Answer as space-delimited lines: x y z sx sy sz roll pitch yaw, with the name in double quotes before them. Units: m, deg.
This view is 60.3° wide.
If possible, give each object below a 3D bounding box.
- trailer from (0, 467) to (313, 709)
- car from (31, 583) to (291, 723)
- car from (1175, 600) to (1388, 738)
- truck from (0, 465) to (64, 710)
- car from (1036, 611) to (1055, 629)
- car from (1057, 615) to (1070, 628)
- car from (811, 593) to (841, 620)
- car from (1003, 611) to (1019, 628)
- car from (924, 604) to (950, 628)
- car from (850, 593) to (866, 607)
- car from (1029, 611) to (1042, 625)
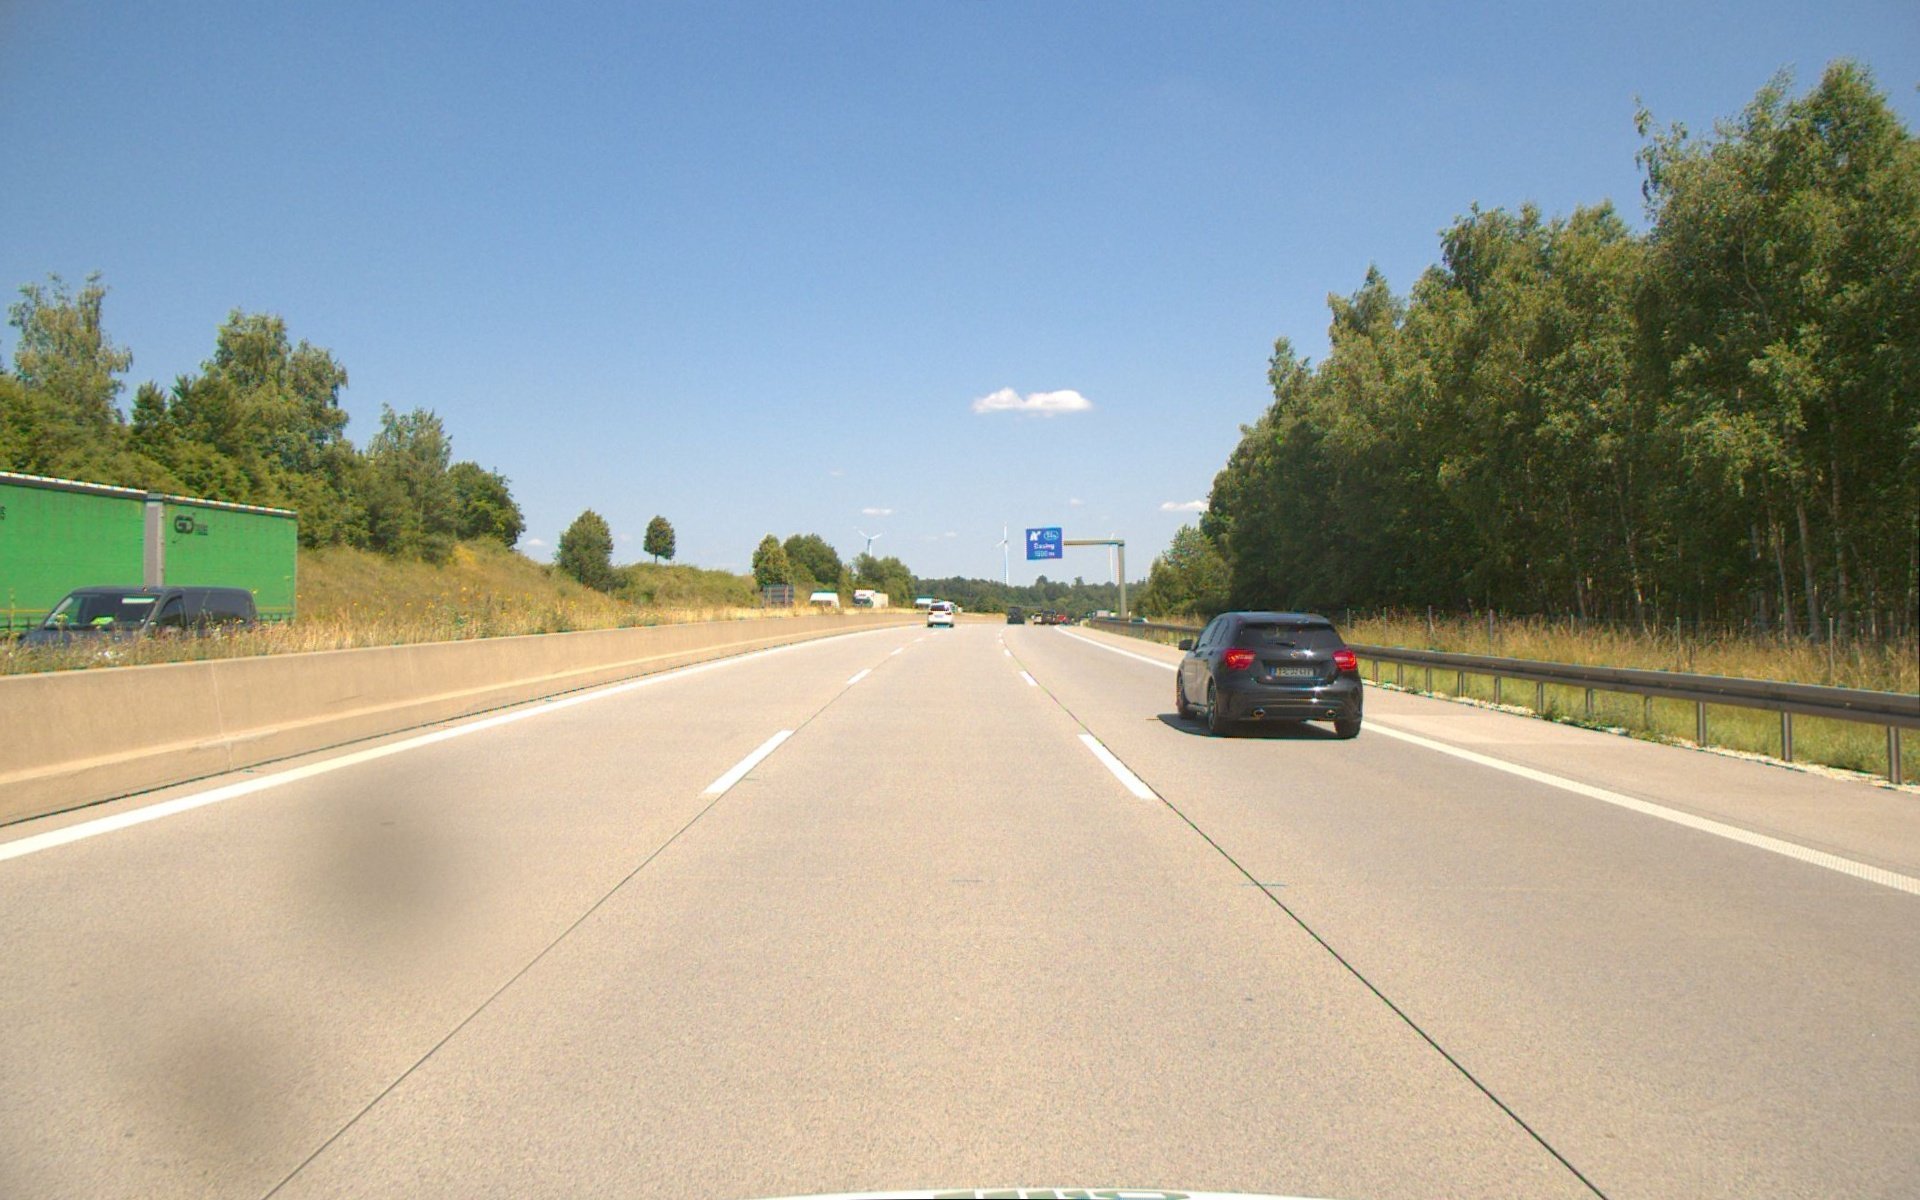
"trailer" -20.110 -0.257 39.095 3.092 4.688 16.437 0 0 0
"car" -12.674 0.783 26.594 1.953 2.049 4.542 1 0 0
"car" 3.876 0.775 20.634 1.871 1.518 4.192 1 0 0
"truck" -20.131 -0.258 31.155 3.026 4.743 6.265 0 0 0
"car" 9.442 2.213 182.538 1.790 1.940 3.999 0 0 -1
"car" 15.245 3.219 243.566 1.751 1.842 3.745 0 0 -1
"car" -10.333 0.474 127.579 1.953 2.049 4.000 1 0 0
"car" 5.990 2.308 194.484 1.789 1.971 3.809 0 0 0
"car" -1.696 1.154 121.253 1.808 1.738 6.034 1 0 -1
"car" -13.167 -0.034 214.403 1.825 1.847 4.000 0 0 0
"car" 11.745 2.766 257.247 1.708 2.025 3.999 0 0 -1
